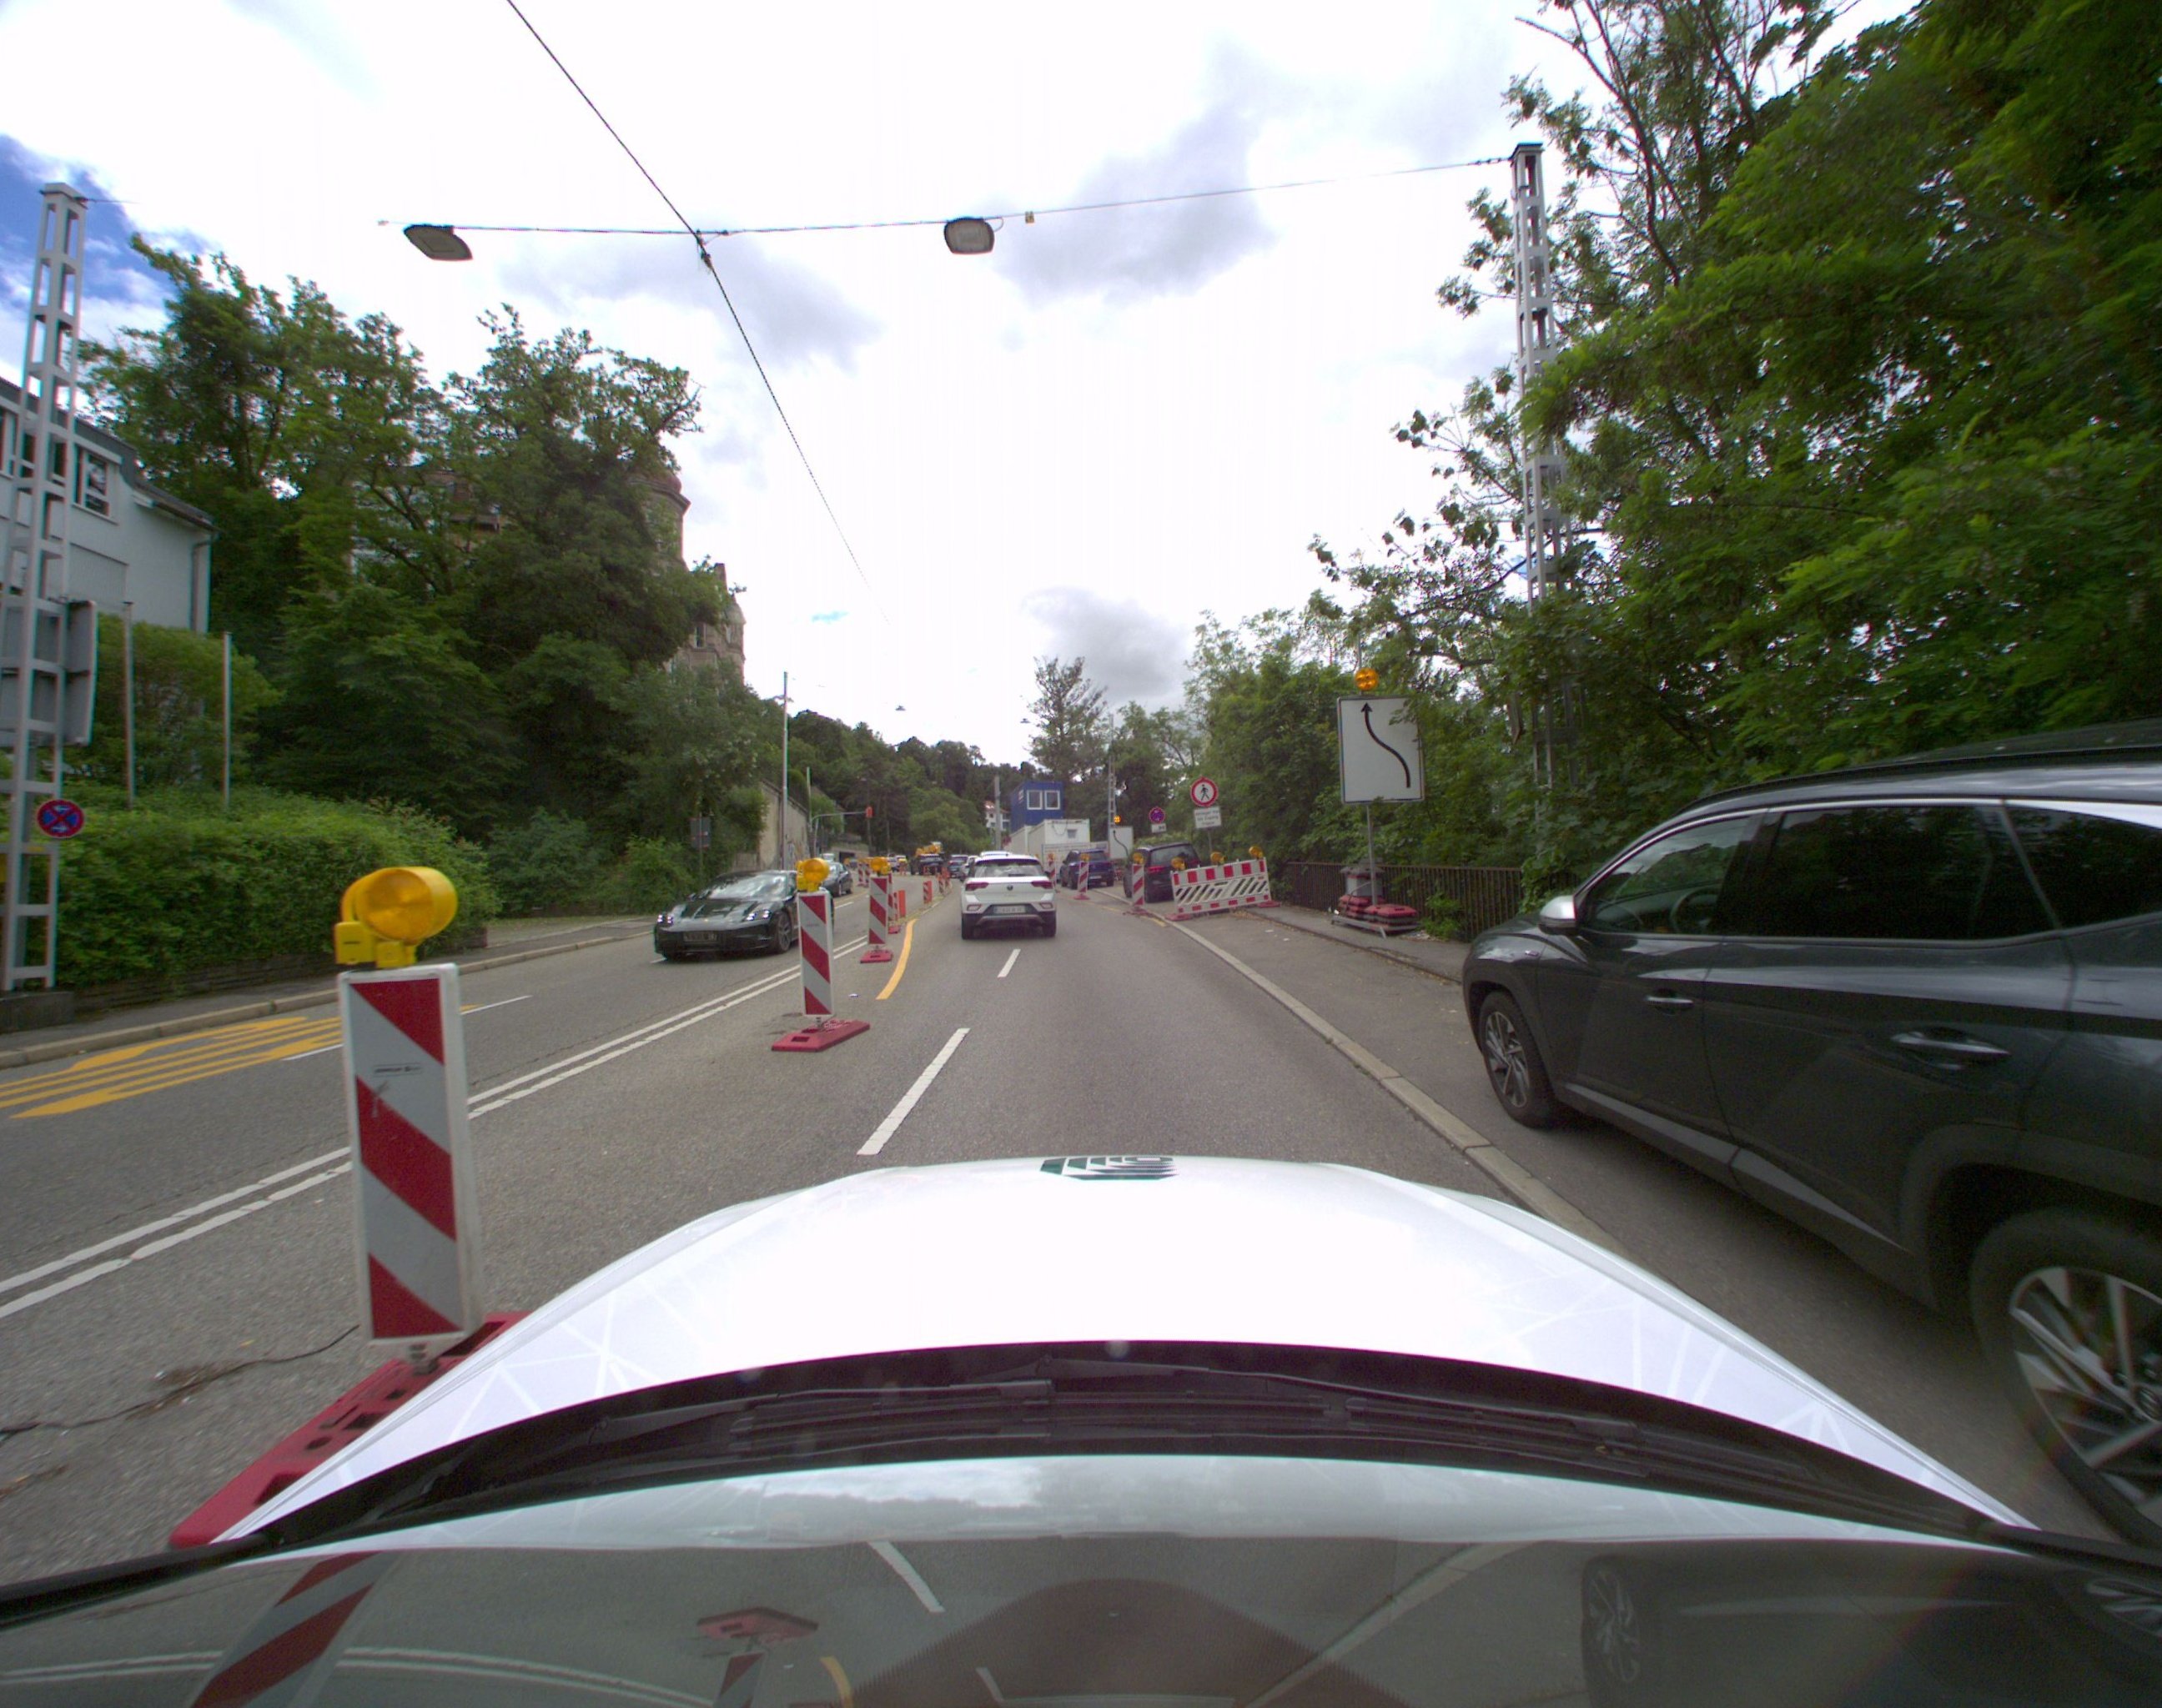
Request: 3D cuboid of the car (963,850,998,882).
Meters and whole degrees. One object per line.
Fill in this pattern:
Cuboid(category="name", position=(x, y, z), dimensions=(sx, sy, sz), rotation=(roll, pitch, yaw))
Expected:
Cuboid(category="car", position=(-5.544, 0.646, 44.952), dimensions=(1.808, 1.663, 3.990), rotation=(-1, 0, -7))

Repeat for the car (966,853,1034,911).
Cuboid(category="car", position=(-2.368, 0.752, 23.866), dimensions=(1.807, 1.531, 3.992), rotation=(-1, 0, -6))

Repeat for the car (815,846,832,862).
Cuboid(category="car", position=(-37.410, -0.039, 118.371), dimensions=(2.074, 2.187, 4.930), rotation=(-2, 1, -20))

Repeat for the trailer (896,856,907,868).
Cuboid(category="trailer", position=(-23.659, 1.029, 107.396), dimensions=(1.291, 1.475, 3.614), rotation=(0, 0, -16))

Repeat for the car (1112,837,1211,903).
Cuboid(category="car", position=(2.360, 0.447, 25.271), dimensions=(1.861, 1.674, 4.633), rotation=(-6, 1, -8))

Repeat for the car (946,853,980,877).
Cuboid(category="car", position=(-7.994, 0.722, 54.926), dimensions=(1.798, 1.510, 3.978), rotation=(-1, 0, -16))

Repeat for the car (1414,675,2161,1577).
Cuboid(category="car", position=(2.937, 0.413, 2.850), dimensions=(1.846, 1.673, 4.283), rotation=(-7, 0, 4))

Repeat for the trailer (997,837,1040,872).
Cuboid(category="trailer", position=(-4.894, 0.033, 62.918), dimensions=(2.113, 2.549, 5.087), rotation=(-2, 0, -18))

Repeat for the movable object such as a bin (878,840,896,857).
Cuboid(category="movable object such as a bin", position=(-31.251, -0.879, 131.293), dimensions=(2.208, 2.663, 4.936), rotation=(0, 0, -5))

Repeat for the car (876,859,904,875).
Cuboid(category="car", position=(-18.576, 1.237, 79.038), dimensions=(1.804, 1.510, 3.965), rotation=(-1, 0, -27))

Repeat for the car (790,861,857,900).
Cuboid(category="car", position=(-10.592, 1.040, 33.792), dimensions=(1.797, 1.373, 4.378), rotation=(-3, 0, -7))

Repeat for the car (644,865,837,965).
Cuboid(category="car", position=(-5.925, 0.966, 14.815), dimensions=(1.817, 1.391, 4.431), rotation=(-3, 0, -4))

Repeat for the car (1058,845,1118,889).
Cuboid(category="car", position=(0.217, 0.550, 35.735), dimensions=(1.839, 1.642, 4.489), rotation=(-5, 0, -8))

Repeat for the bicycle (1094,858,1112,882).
Cuboid(category="bicycle", position=(1.106, 0.788, 40.773), dimensions=(0.498, 1.107, 1.794), rotation=(-3, 0, -10))

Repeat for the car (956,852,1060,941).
Cuboid(category="car", position=(-1.559, 0.757, 16.455), dimensions=(1.809, 1.531, 3.989), rotation=(-1, 0, -8))

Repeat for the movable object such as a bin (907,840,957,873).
Cuboid(category="movable object such as a bin", position=(-14.840, 0.260, 80.697), dimensions=(2.826, 3.071, 7.756), rotation=(1, -1, -26))

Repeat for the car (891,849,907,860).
Cuboid(category="car", position=(-25.789, 0.065, 115.111), dimensions=(1.799, 1.510, 3.975), rotation=(-1, -1, -18))

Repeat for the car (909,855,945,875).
Cuboid(category="car", position=(-12.358, 0.852, 65.134), dimensions=(1.804, 1.510, 3.965), rotation=(-1, 0, -27))

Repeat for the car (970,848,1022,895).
Cuboid(category="car", position=(-3.307, 0.631, 31.298), dimensions=(1.808, 1.663, 3.990), rotation=(-1, 0, -7))
